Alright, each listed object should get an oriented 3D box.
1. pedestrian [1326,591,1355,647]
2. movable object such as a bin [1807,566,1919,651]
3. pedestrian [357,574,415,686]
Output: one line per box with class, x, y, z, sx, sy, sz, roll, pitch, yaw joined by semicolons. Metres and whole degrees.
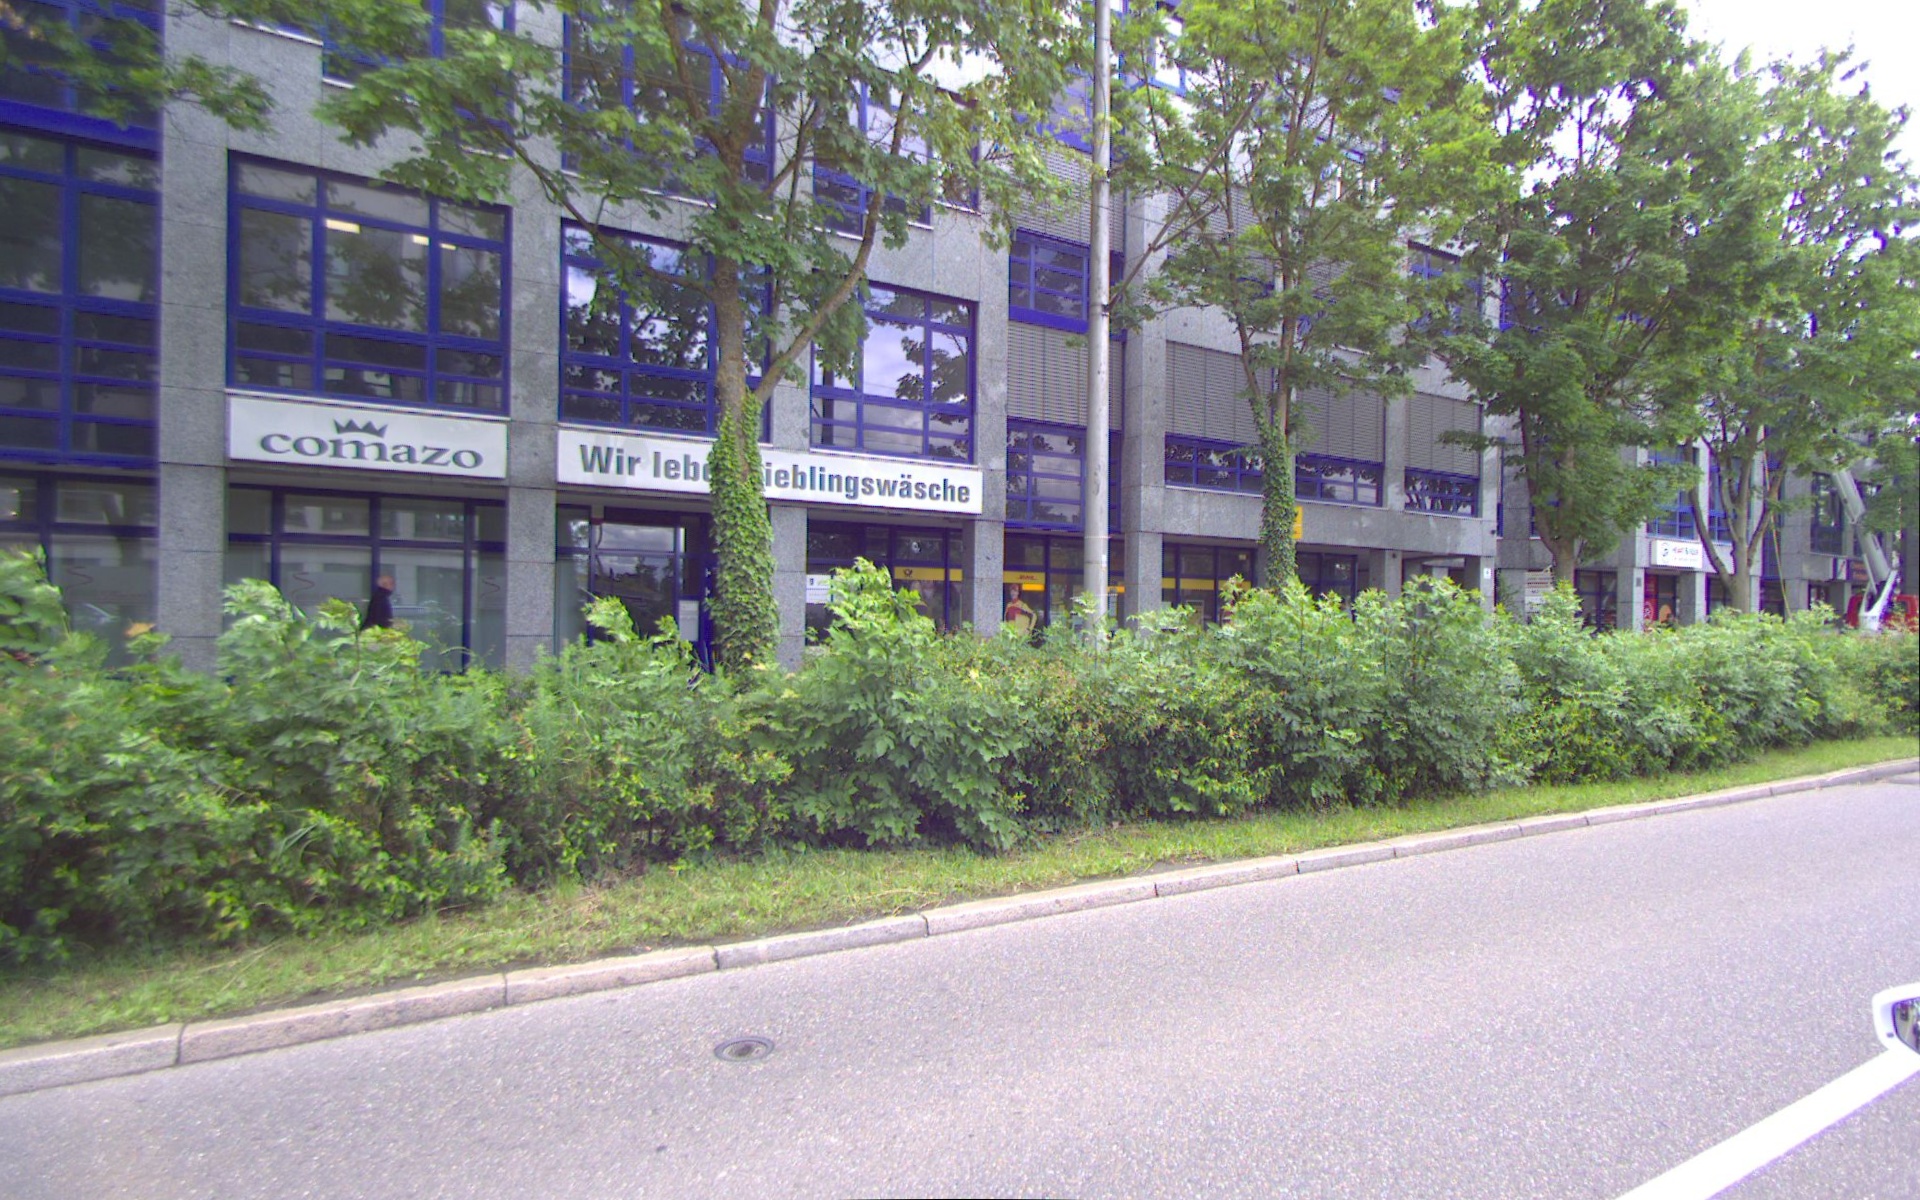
pedestrian;9.380;0.455;24.742;0.552;1.352;0.362;0;3;-35
movable object such as a bin;29.544;0.258;32.551;4.079;2.566;1.895;1;2;-31
pedestrian;-7.964;0.406;13.950;0.671;1.502;0.694;1;1;-30
